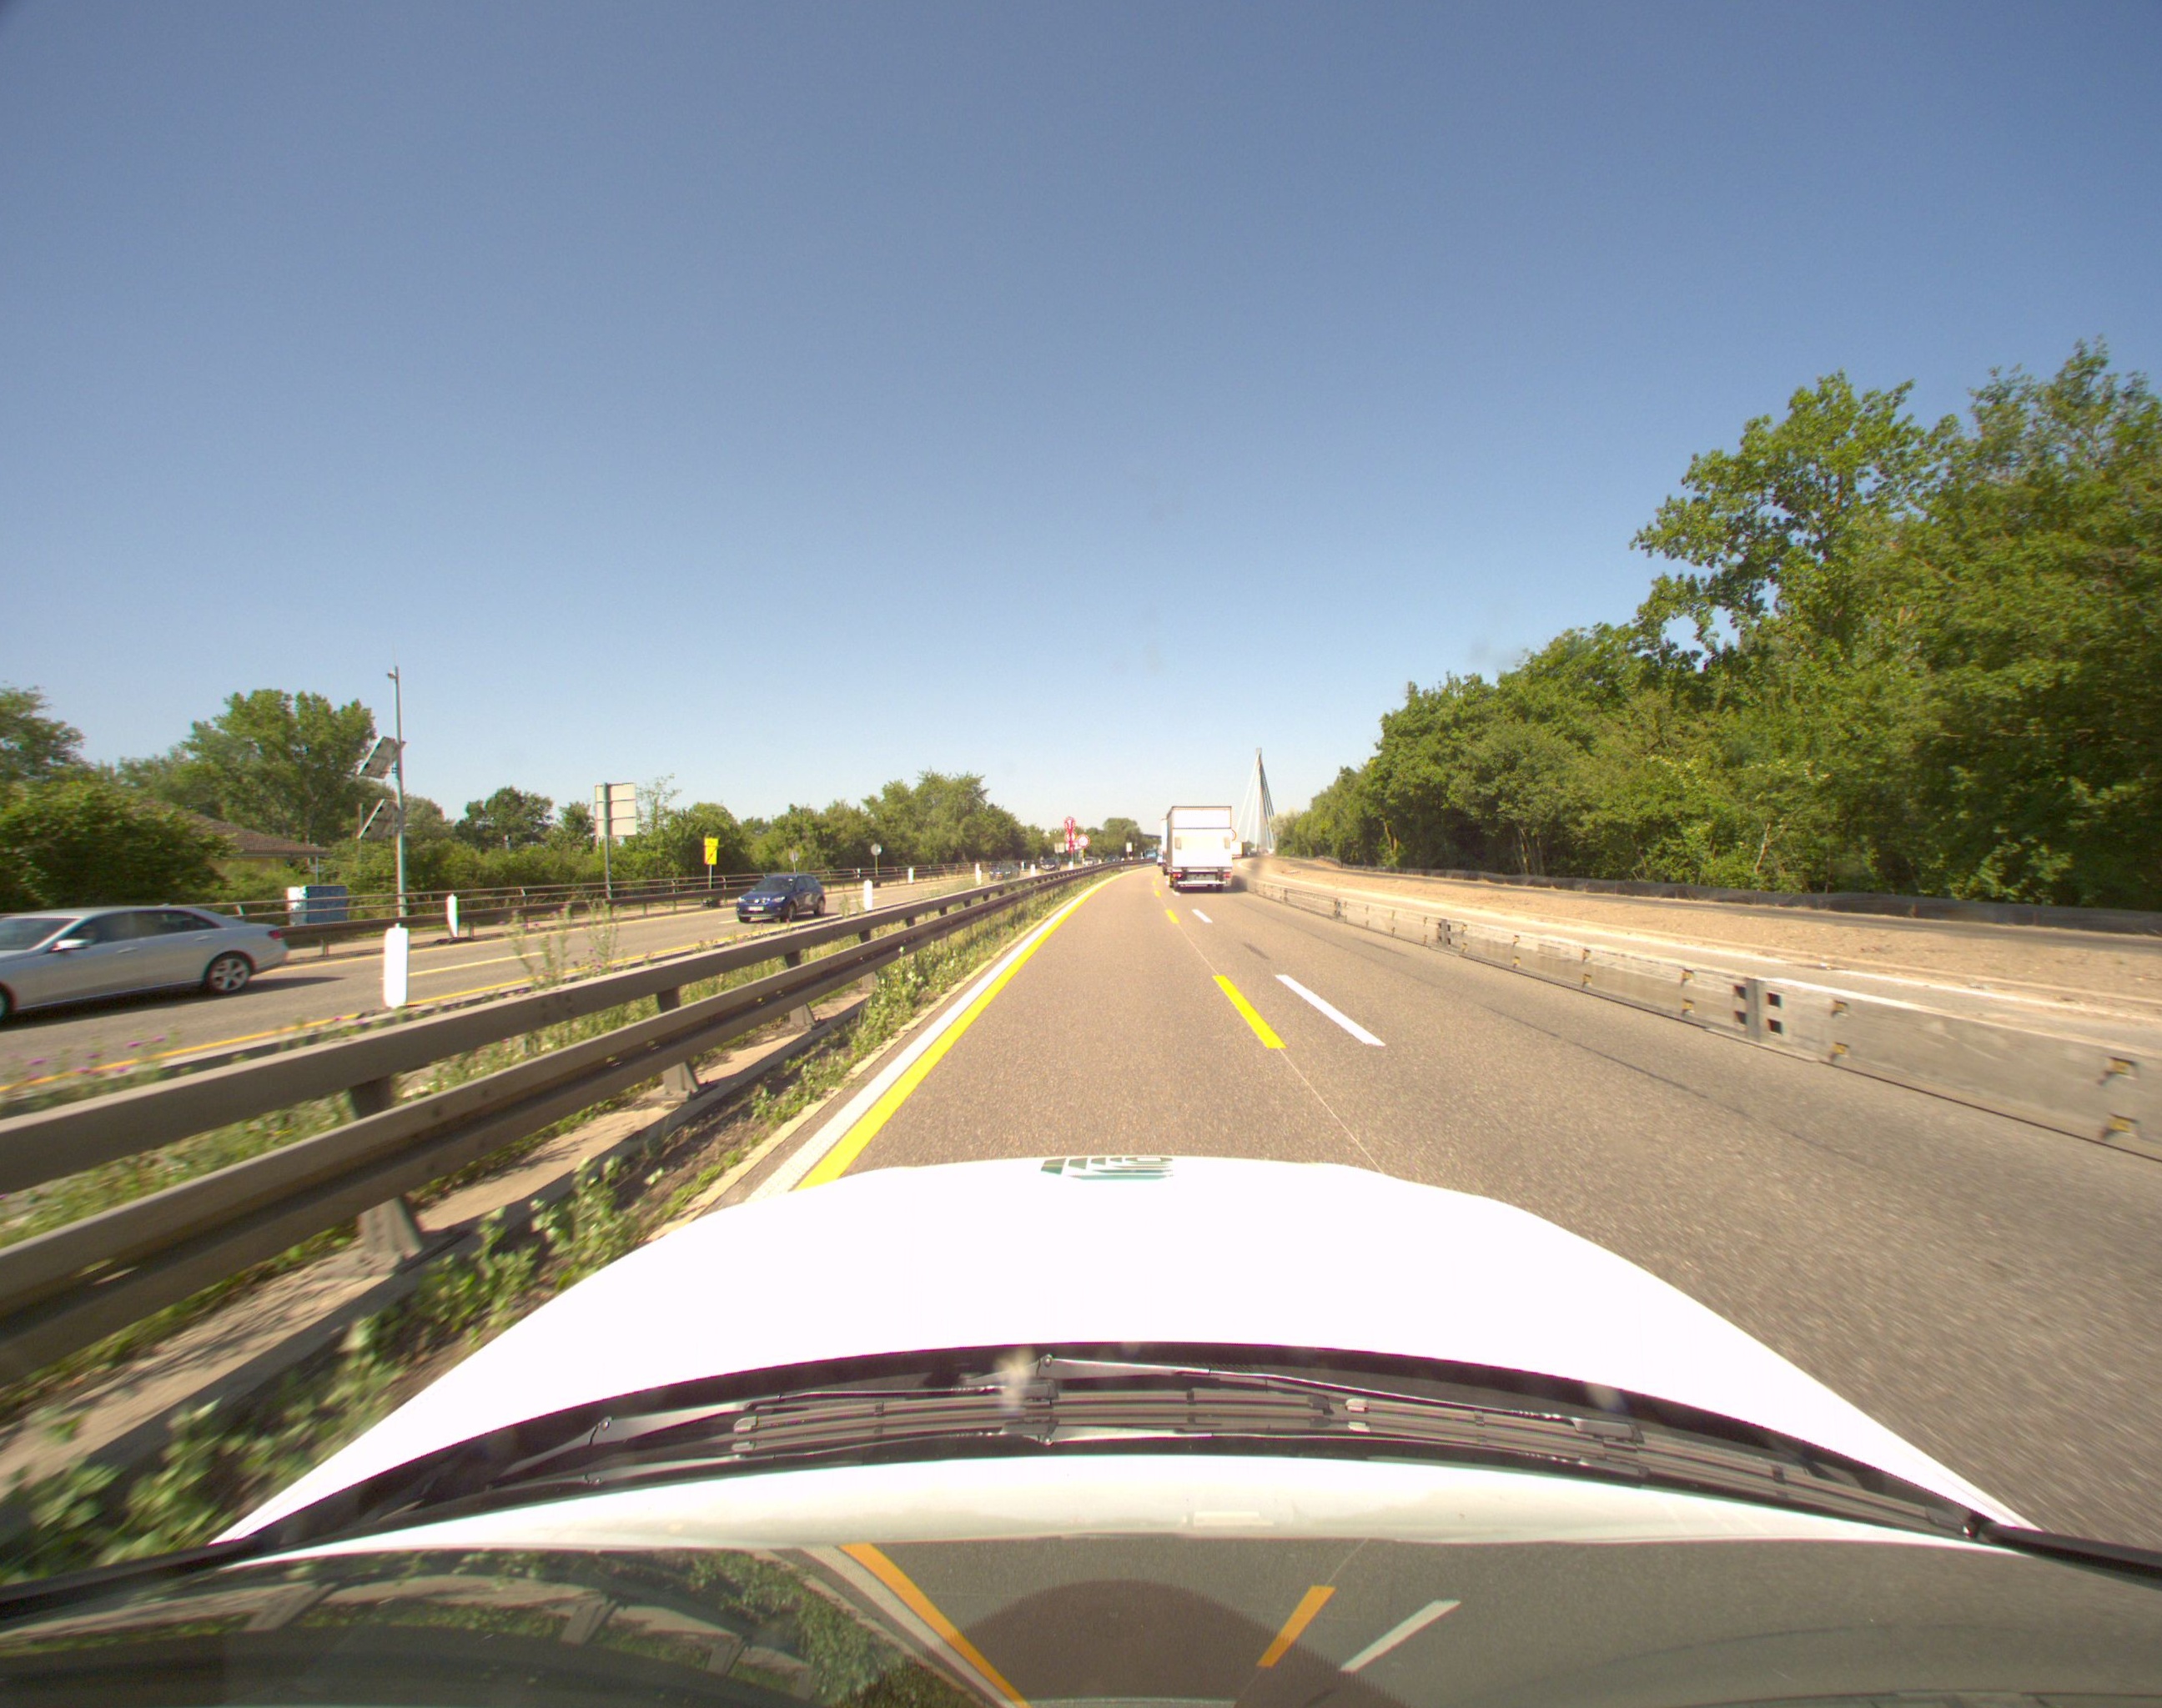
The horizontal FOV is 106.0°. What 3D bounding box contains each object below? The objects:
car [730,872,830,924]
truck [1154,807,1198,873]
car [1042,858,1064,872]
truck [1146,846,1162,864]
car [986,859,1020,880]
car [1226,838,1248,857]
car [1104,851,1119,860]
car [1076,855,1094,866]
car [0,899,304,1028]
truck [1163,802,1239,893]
[{"bbox_3d":[-10.191,1.437,27.889,1.731,1.498,4.003,-2,0,3],"label":"car"},{"bbox_3d":[6.709,-0.974,58.598,2.624,4.468,7.238,0,0,3],"label":"truck"},{"bbox_3d":[-3.393,1.362,99.666,1.982,1.552,4.009,-2,0,8],"label":"car"},{"bbox_3d":[16.129,0.251,179.490,2.490,3.613,6.217,-4,0,14],"label":"truck"},{"bbox_3d":[-6.432,1.287,67.623,1.984,1.552,4.006,-2,0,5],"label":"car"},{"bbox_3d":[37.658,-1.607,196.069,4.176,4.251,10.707,-3,0,16],"label":"car"},{"bbox_3d":[5.447,0.294,145.633,1.980,1.552,4.014,-2,0,12],"label":"car"},{"bbox_3d":[0.648,0.915,120.879,1.982,1.552,4.010,-2,0,9],"label":"car"},{"bbox_3d":[-14.617,1.542,11.759,1.876,1.420,4.864,-2,0,4],"label":"car"},{"bbox_3d":[4.917,-0.251,34.562,2.623,3.427,7.240,0,0,4],"label":"truck"}]
